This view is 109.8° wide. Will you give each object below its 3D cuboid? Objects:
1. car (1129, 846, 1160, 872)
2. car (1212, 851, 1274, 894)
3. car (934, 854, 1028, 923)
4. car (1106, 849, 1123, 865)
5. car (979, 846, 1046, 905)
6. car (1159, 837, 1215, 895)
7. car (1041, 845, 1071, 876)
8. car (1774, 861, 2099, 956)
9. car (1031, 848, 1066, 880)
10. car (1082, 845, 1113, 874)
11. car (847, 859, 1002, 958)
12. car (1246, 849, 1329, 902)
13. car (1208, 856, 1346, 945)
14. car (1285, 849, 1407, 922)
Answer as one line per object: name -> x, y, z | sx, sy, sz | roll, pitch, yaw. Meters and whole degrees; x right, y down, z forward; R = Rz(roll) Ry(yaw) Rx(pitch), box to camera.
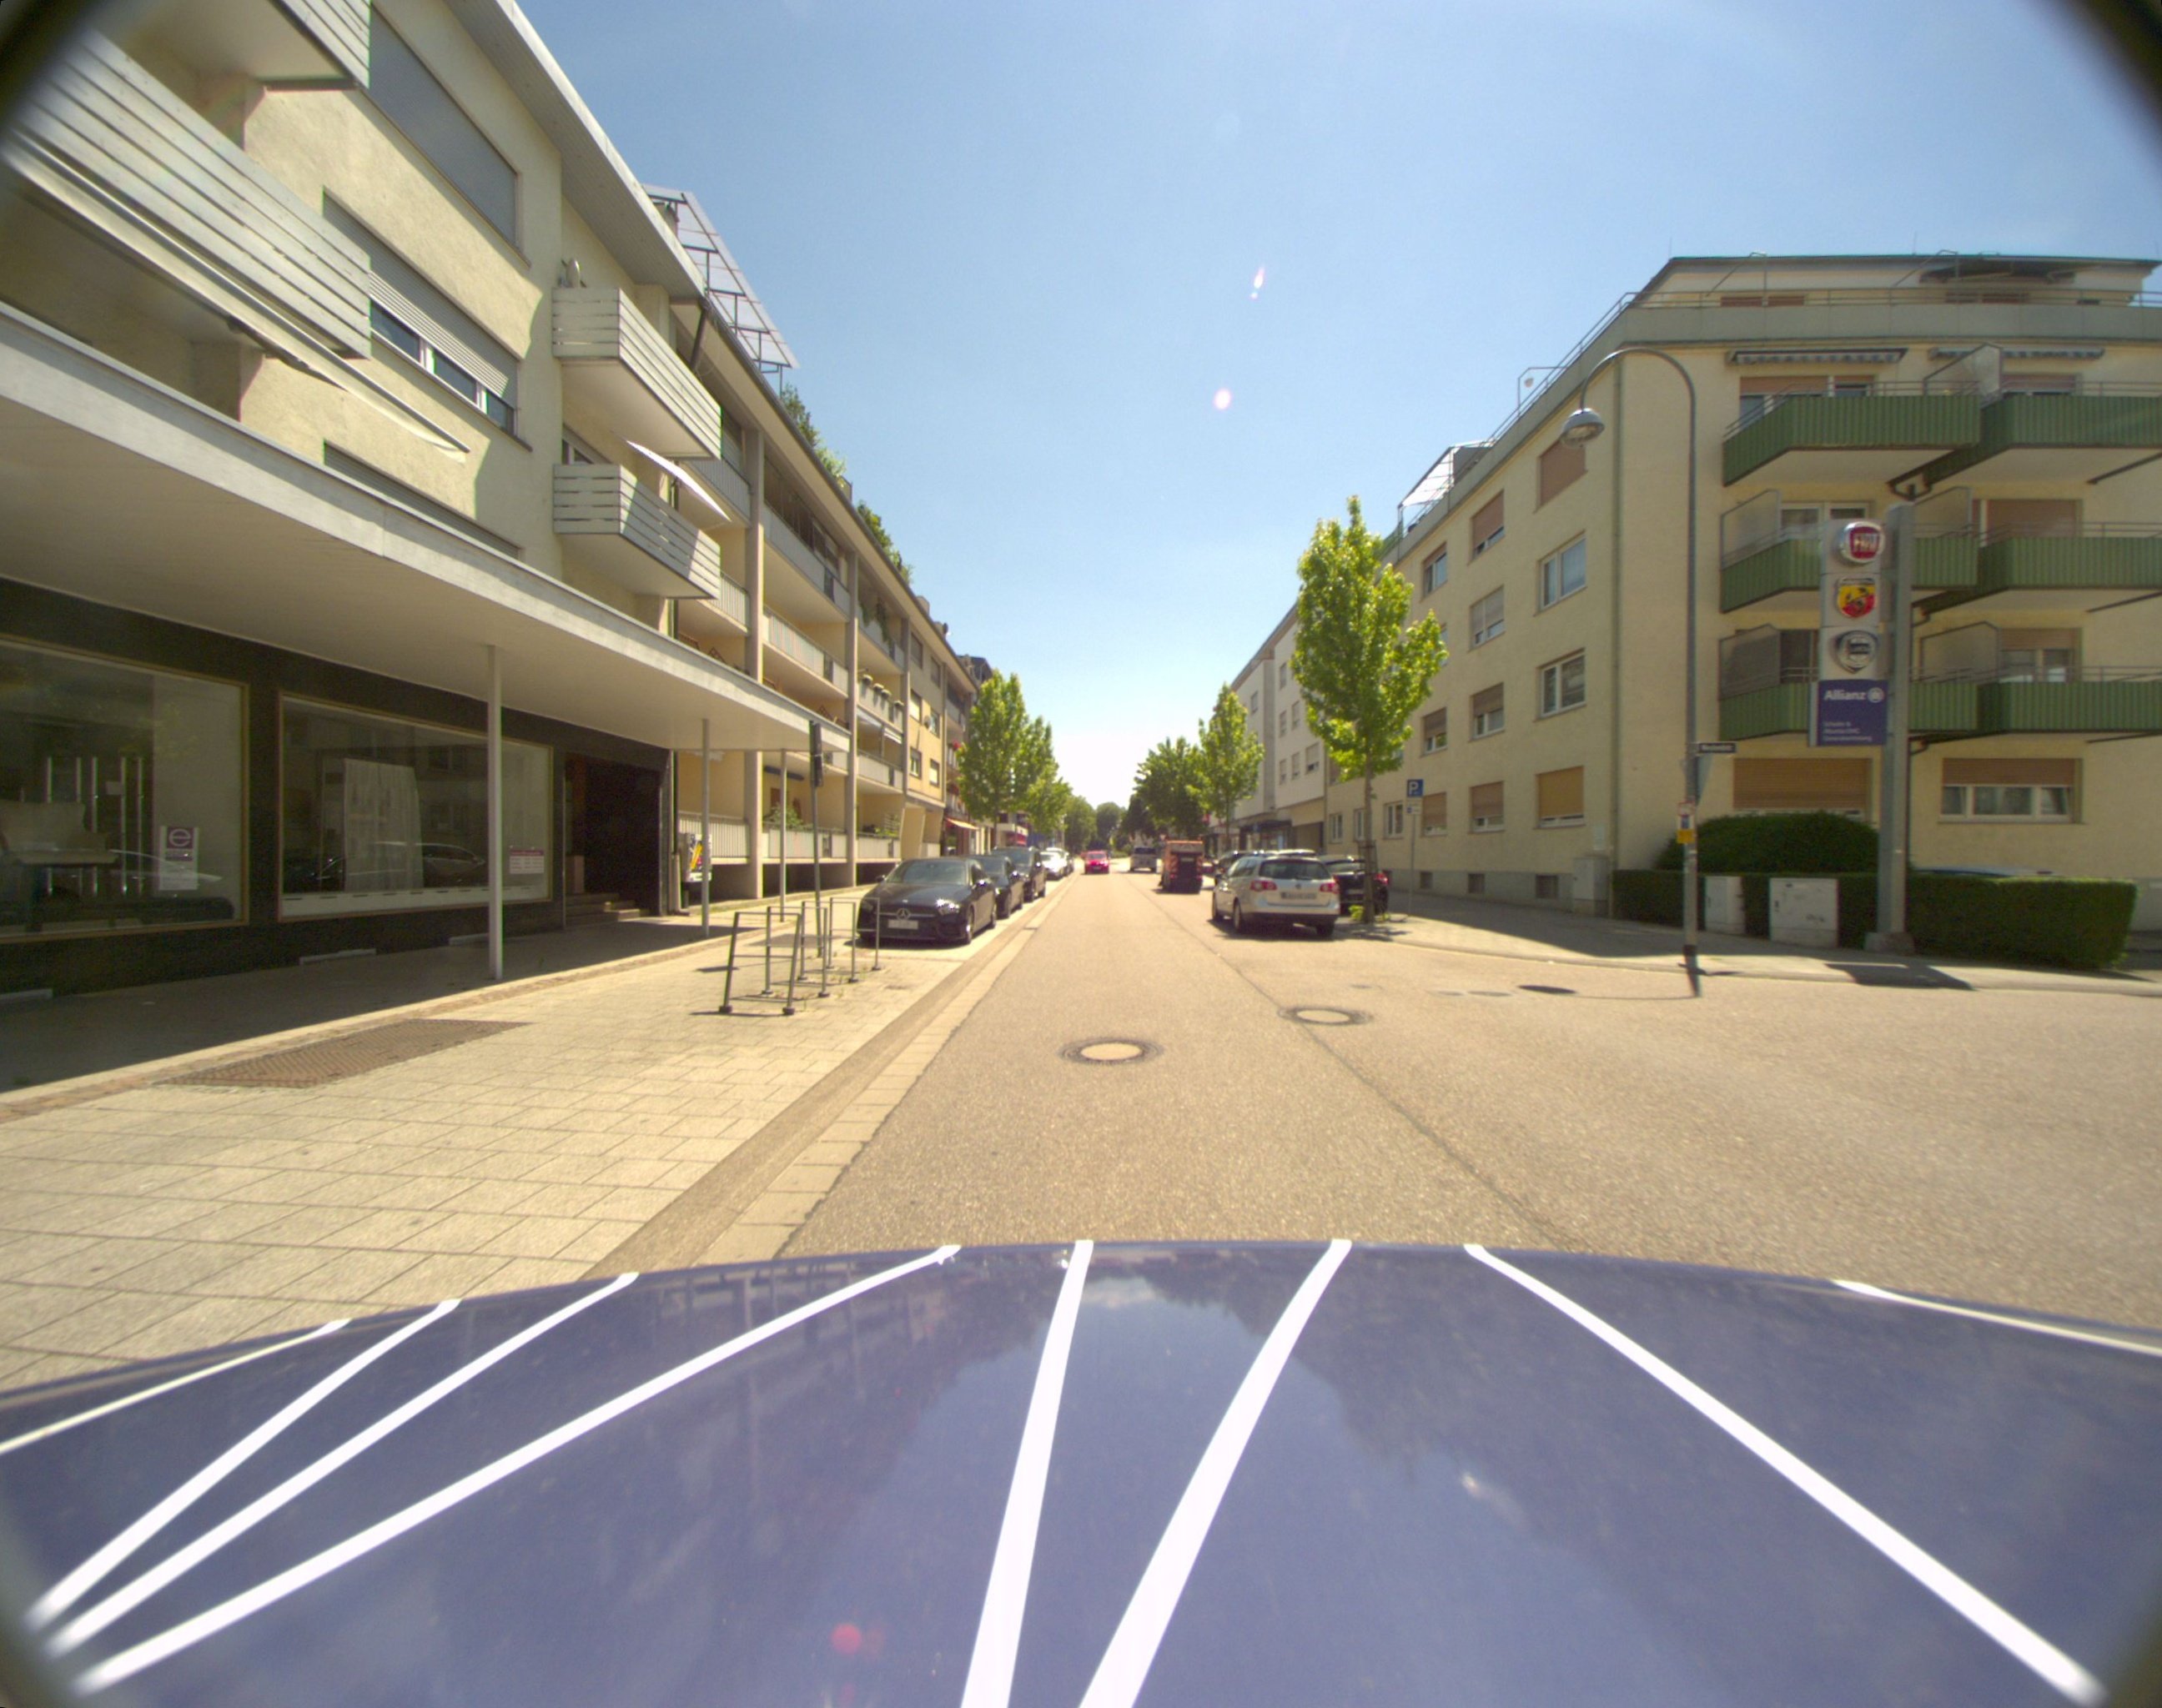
car -> 4.854, 0.340, 58.625 | 2.000, 1.880, 4.294 | 1, 0, 1
car -> 6.687, 0.706, 31.844 | 1.731, 1.661, 4.294 | -1, 0, 1
car -> -2.388, 0.779, 19.049 | 1.731, 1.499, 4.115 | 0, 0, 1
car -> 3.472, 0.318, 79.419 | 1.698, 1.594, 3.812 | 0, 0, 1
car -> -2.154, 0.624, 24.824 | 1.731, 1.752, 4.115 | 0, 0, 1
car -> 4.235, 0.429, 30.954 | 1.731, 2.154, 4.294 | 1, 1, 1
car -> -1.561, 0.402, 48.747 | 1.731, 1.861, 4.115 | 0, 0, 1
car -> 15.810, 0.914, 14.376 | 1.751, 1.499, 3.748 | 0, 0, -7
car -> -1.779, 0.524, 43.163 | 1.731, 1.680, 4.115 | 0, 0, 1
car -> 1.138, 0.326, 52.611 | 2.000, 1.880, 4.294 | -1, 0, 1
car -> -2.613, 0.852, 13.653 | 1.818, 1.379, 4.115 | 2, 0, 1
car -> 7.105, 0.685, 26.631 | 1.731, 1.661, 4.293 | -1, 0, 0
car -> 3.744, 0.808, 15.288 | 1.731, 1.500, 4.294 | 0, 0, 1
car -> 6.748, 0.724, 19.850 | 1.731, 1.661, 4.294 | -1, 0, 1
